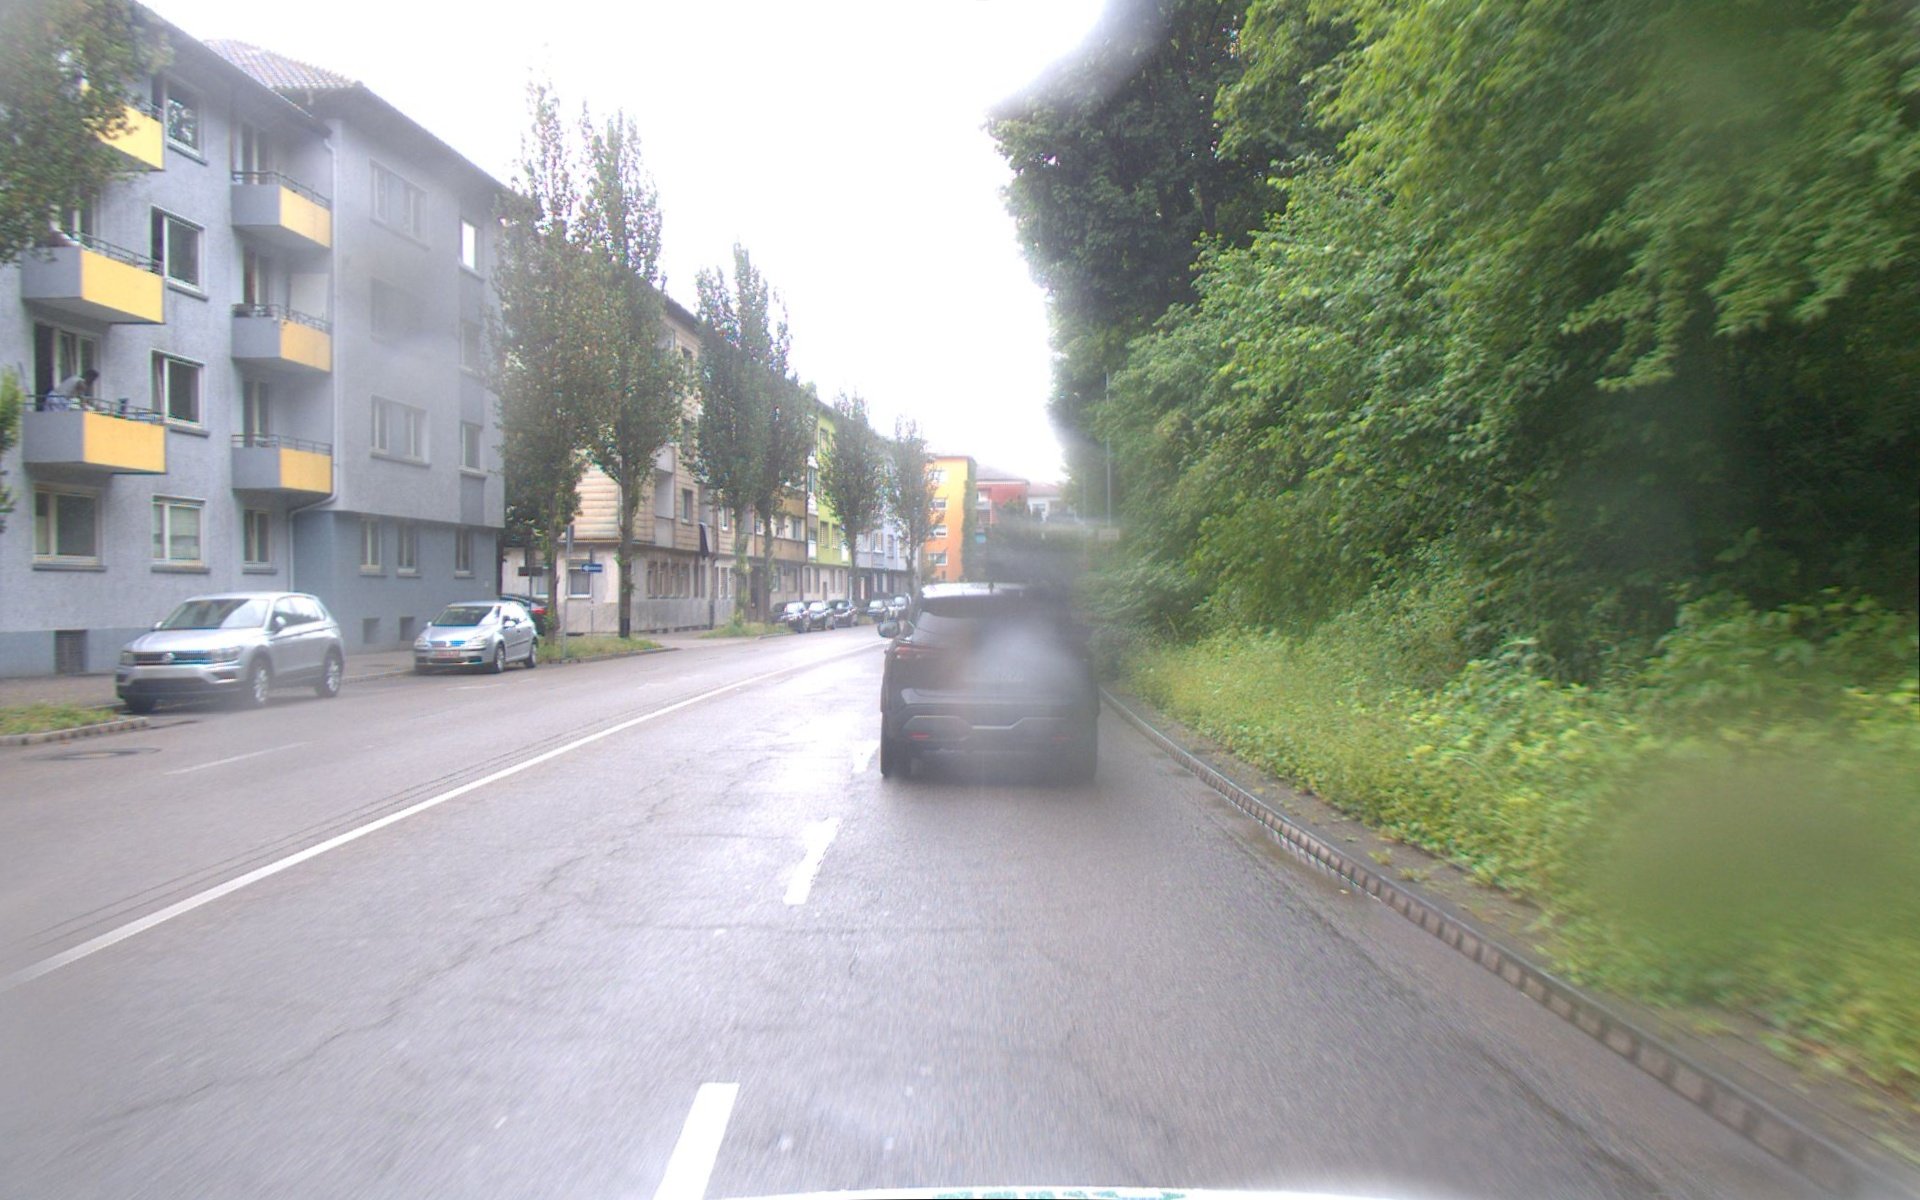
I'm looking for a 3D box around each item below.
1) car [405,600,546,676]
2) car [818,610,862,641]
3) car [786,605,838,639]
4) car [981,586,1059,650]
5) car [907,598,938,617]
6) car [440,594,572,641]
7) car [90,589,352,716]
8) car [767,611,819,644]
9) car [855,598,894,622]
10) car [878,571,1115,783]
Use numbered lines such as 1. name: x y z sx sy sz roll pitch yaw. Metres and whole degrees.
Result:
1. car: -10.167 0.759 35.010 1.689 1.478 4.205 -1 0 0
2. car: -6.511 1.380 90.303 1.682 1.515 4.517 -2 0 5
3. car: -7.262 1.069 81.555 1.779 1.515 4.792 -2 0 3
4. car: 1.770 0.503 47.738 1.847 1.741 4.003 0 0 8
5. car: -2.823 0.560 125.795 1.652 1.381 4.582 -3 0 7
6. car: -16.036 0.601 58.525 4.062 1.606 1.927 0 1 4
7. car: -10.461 0.677 23.805 1.728 1.632 4.533 -1 0 0
8. car: -7.551 1.231 75.063 1.591 1.411 3.991 -1 0 5
9. car: -5.248 0.595 102.004 1.779 1.396 4.683 -2 0 4
10. car: 0.260 0.585 14.808 1.807 1.610 3.999 1 0 -1
